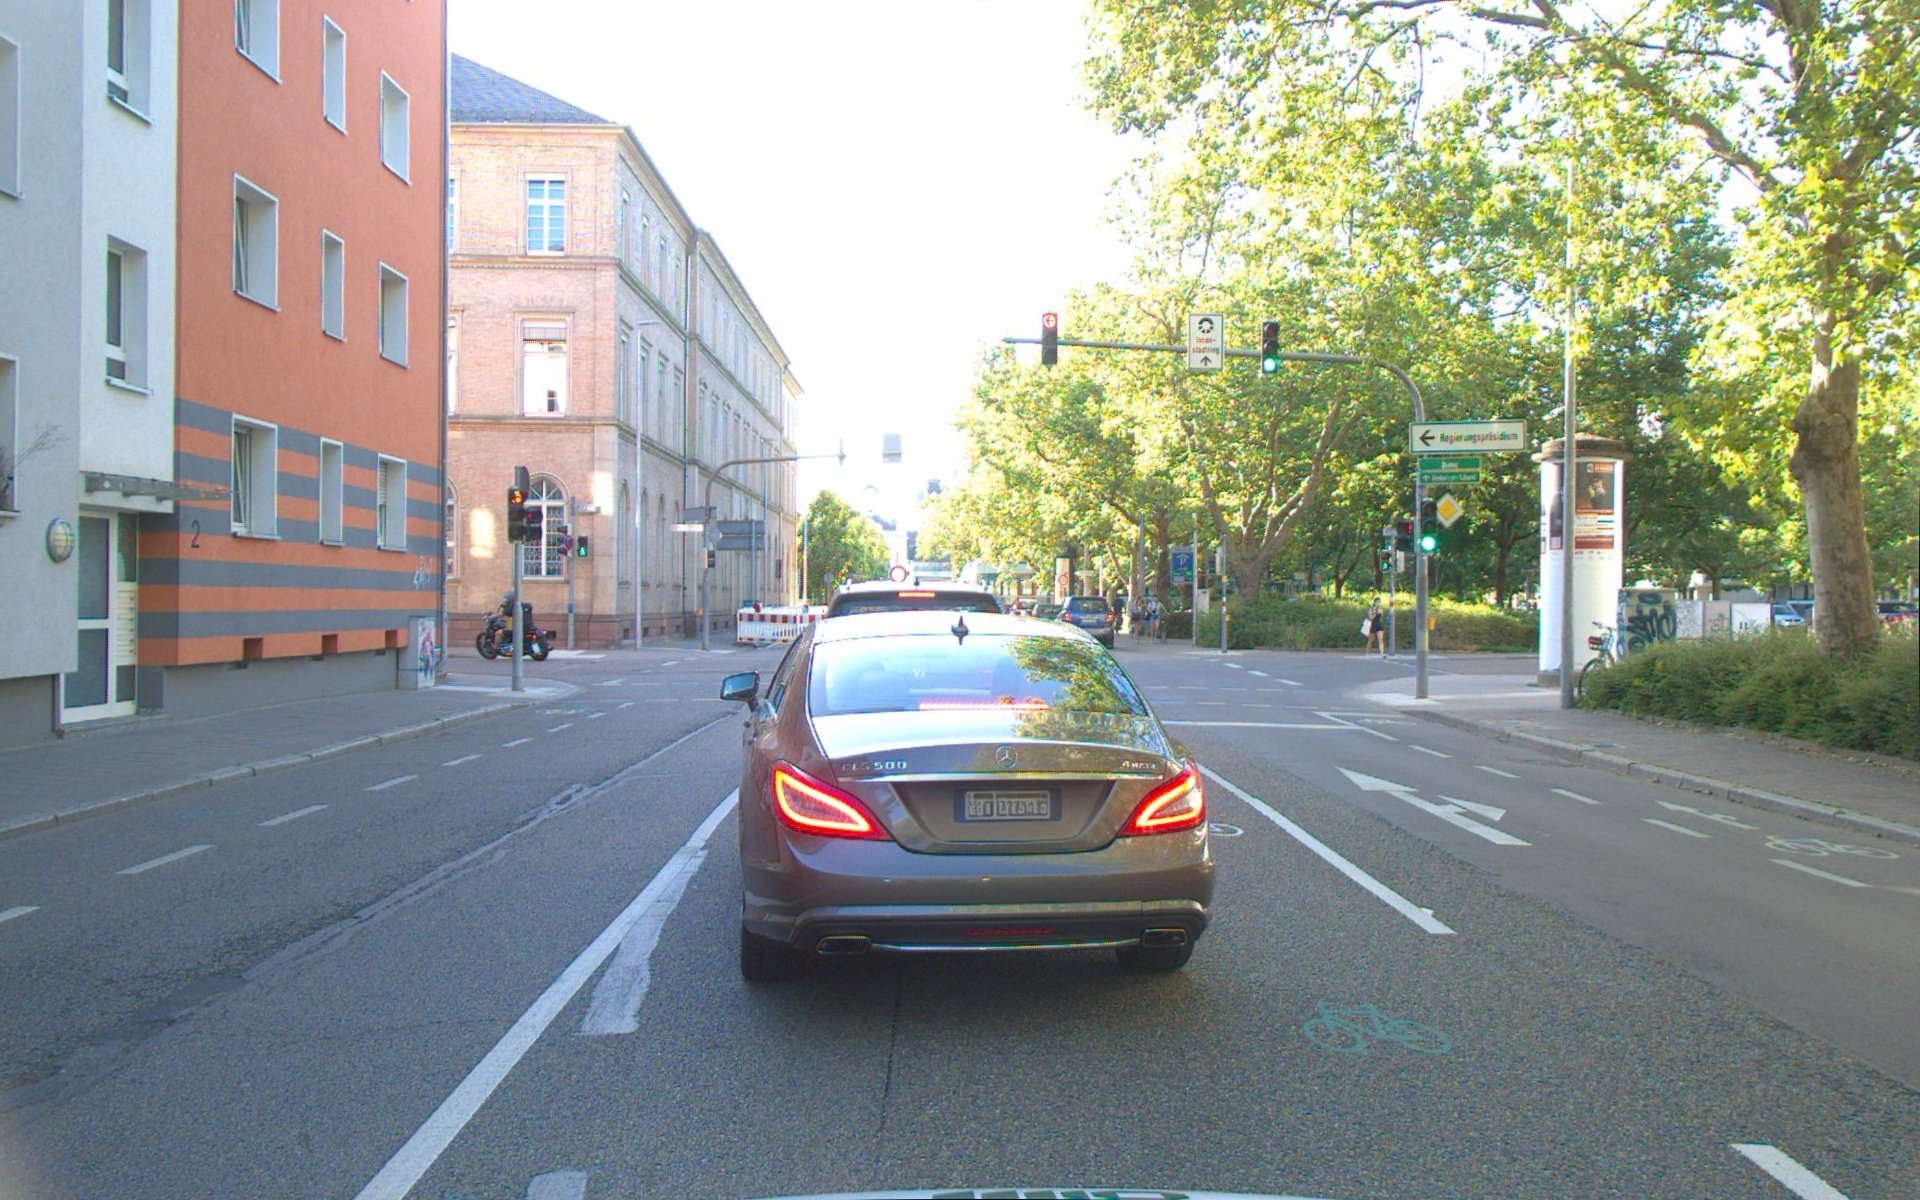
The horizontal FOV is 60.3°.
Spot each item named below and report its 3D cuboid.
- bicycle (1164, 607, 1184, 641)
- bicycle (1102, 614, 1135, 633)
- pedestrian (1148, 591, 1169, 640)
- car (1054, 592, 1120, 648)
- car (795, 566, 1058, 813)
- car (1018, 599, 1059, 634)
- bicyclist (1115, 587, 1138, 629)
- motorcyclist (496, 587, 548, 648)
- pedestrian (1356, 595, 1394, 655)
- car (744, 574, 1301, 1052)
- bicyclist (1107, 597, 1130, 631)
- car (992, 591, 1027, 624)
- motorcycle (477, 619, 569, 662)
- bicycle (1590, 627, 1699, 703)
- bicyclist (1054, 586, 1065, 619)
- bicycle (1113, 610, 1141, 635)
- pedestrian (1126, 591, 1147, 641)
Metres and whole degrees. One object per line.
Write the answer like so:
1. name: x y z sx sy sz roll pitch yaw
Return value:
1. bicycle: 7.913 0.876 61.189 0.472 1.223 1.606 1 0 -1
2. bicycle: 6.679 0.994 69.780 0.709 0.805 1.925 1 0 27
3. pedestrian: 7.341 0.566 61.214 0.623 1.791 0.698 1 -1 -5
4. car: 4.271 0.648 56.229 1.823 1.794 4.481 1 0 -1
5. car: -0.263 0.620 13.593 1.823 1.712 3.999 1 0 -1
6. car: 3.610 0.725 76.696 1.670 1.545 3.999 1 0 -1
7. bicyclist: 6.653 0.307 66.038 0.808 1.646 0.957 1 0 -1
8. motorcyclist: -9.717 0.382 36.705 0.785 1.317 0.788 1 -1 28
9. pedestrian: 11.132 0.662 44.377 0.625 1.572 0.906 1 -1 -15
10. car: -0.026 0.691 7.465 1.826 1.545 3.993 1 0 -8
11. bicyclist: 6.677 0.589 69.757 0.719 1.422 0.697 1 -1 28
12. car: 2.673 0.407 89.563 1.696 1.691 3.680 1 0 -1
13. motorcycle: -9.702 0.889 36.688 2.014 0.908 0.754 1 0 29
14. bicycle: 9.877 0.922 23.839 1.868 1.046 0.633 1 -1 -39
15. bicyclist: 6.343 0.136 105.169 0.583 2.075 0.565 1 -1 -5
16. bicycle: 6.657 0.891 65.983 0.811 0.940 2.616 1 0 -1
17. pedestrian: 6.534 0.574 61.165 0.623 1.828 0.698 1 -1 -5
